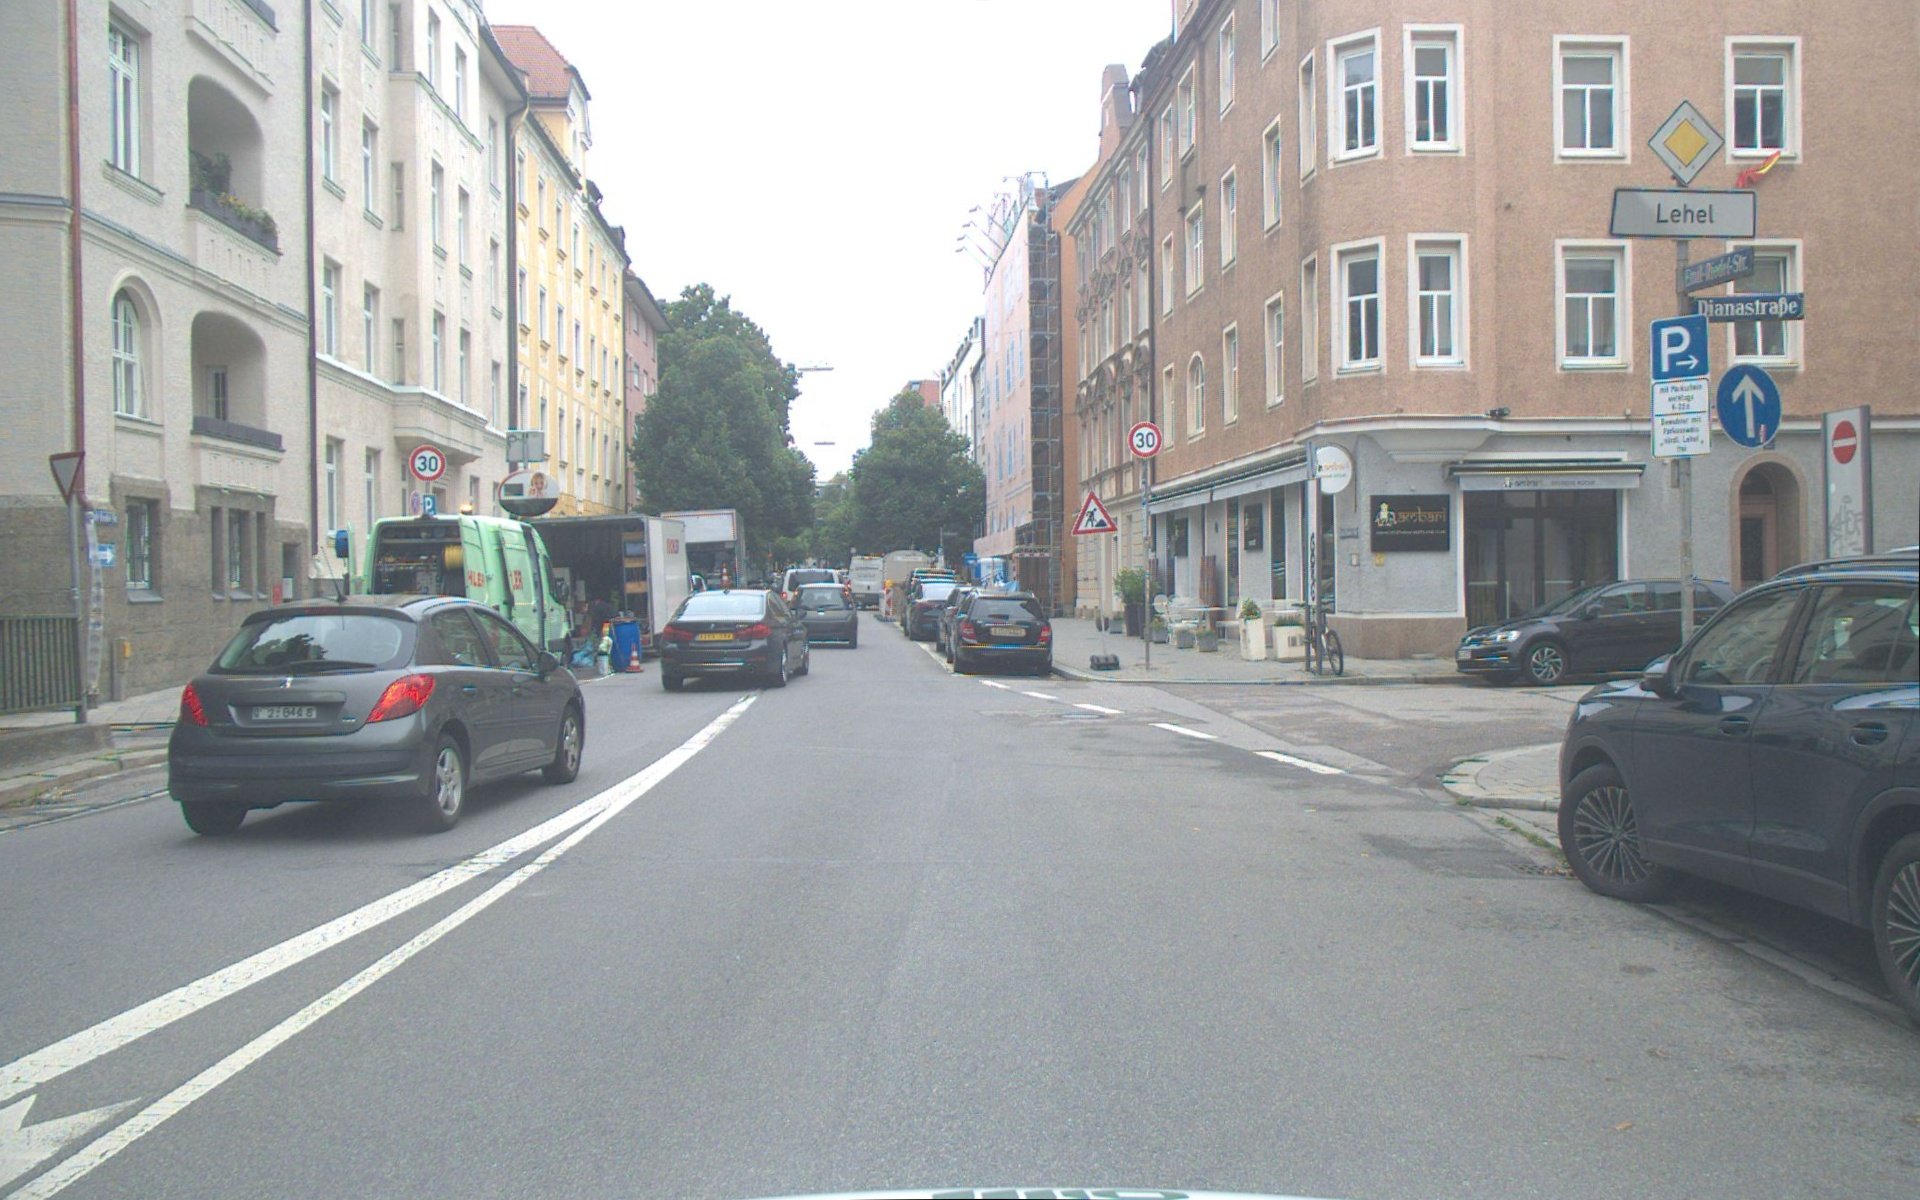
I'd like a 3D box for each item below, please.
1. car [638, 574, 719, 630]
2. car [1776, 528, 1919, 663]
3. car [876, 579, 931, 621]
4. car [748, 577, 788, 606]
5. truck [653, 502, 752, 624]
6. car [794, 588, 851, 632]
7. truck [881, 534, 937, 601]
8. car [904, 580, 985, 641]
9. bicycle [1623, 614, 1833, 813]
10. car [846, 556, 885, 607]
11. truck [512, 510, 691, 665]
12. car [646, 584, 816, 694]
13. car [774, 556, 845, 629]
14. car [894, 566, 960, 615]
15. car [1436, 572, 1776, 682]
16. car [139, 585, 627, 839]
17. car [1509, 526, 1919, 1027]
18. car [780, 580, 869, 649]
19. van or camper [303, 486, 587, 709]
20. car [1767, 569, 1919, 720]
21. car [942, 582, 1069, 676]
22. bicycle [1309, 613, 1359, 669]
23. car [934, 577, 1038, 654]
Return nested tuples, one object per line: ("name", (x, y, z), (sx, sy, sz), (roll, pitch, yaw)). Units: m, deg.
("car", (-8.538, 0.032, 50.408), (1.950, 1.638, 4.138), (0, 1, -3))
("car", (15.072, -0.071, 24.415), (5.025, 1.886, 2.098), (-1, -1, -3))
("car", (-2.151, -0.033, 61.992), (1.950, 1.454, 4.138), (-1, 1, -3))
("car", (-9.818, -0.446, 84.849), (1.901, 1.473, 3.863), (0, 1, -4))
("truck", (-8.937, -1.252, 58.140), (2.953, 4.020, 6.988), (0, 1, -5))
("car", (-5.065, 0.343, 61.227), (1.950, 1.454, 4.138), (-1, 1, -3))
("truck", (-2.452, -1.519, 78.341), (2.442, 3.025, 5.323), (0, 1, -4))
("car", (-0.470, 0.244, 44.615), (1.808, 1.454, 4.303), (2, 1, -5))
("bicycle", (5.285, 0.730, 11.512), (0.503, 1.229, 1.995), (0, 0, -1))
("car", (-4.837, -0.964, 85.243), (1.900, 2.523, 4.781), (0, 1, -2))
("truck", (-7.395, -0.334, 35.072), (2.719, 2.923, 7.196), (-1, 1, -5))
("car", (-3.447, 0.522, 25.846), (1.949, 1.454, 4.906), (-1, 1, 0))
("car", (-4.565, -0.272, 50.657), (1.950, 2.111, 4.138), (-1, 1, -3))
("car", (-1.075, -0.325, 52.473), (1.950, 1.454, 4.138), (-1, 1, -3))
("car", (9.151, 0.392, 23.654), (4.087, 1.454, 1.924), (-1, -1, -3))
("car", (-3.835, 0.652, 11.820), (1.721, 1.486, 4.077), (-1, 0, 5))
("car", (4.088, 0.560, 7.096), (1.782, 1.708, 4.509), (-2, 0, -2))
("car", (-3.121, 0.293, 38.775), (1.950, 1.454, 4.138), (-1, 1, -3))
("van or camper", (-7.448, -0.117, 24.787), (2.549, 2.889, 6.183), (-1, 1, -3))
("car", (11.084, 0.419, 17.804), (3.955, 1.482, 1.746), (-1, 2, -1))
("car", (0.744, 0.469, 29.853), (1.808, 1.454, 4.180), (2, 1, -5))
("bicycle", (5.780, 0.625, 25.604), (0.447, 0.819, 1.326), (0, 0, -1))
("car", (0.497, 0.292, 35.775), (1.808, 1.454, 4.137), (2, 1, -5))
